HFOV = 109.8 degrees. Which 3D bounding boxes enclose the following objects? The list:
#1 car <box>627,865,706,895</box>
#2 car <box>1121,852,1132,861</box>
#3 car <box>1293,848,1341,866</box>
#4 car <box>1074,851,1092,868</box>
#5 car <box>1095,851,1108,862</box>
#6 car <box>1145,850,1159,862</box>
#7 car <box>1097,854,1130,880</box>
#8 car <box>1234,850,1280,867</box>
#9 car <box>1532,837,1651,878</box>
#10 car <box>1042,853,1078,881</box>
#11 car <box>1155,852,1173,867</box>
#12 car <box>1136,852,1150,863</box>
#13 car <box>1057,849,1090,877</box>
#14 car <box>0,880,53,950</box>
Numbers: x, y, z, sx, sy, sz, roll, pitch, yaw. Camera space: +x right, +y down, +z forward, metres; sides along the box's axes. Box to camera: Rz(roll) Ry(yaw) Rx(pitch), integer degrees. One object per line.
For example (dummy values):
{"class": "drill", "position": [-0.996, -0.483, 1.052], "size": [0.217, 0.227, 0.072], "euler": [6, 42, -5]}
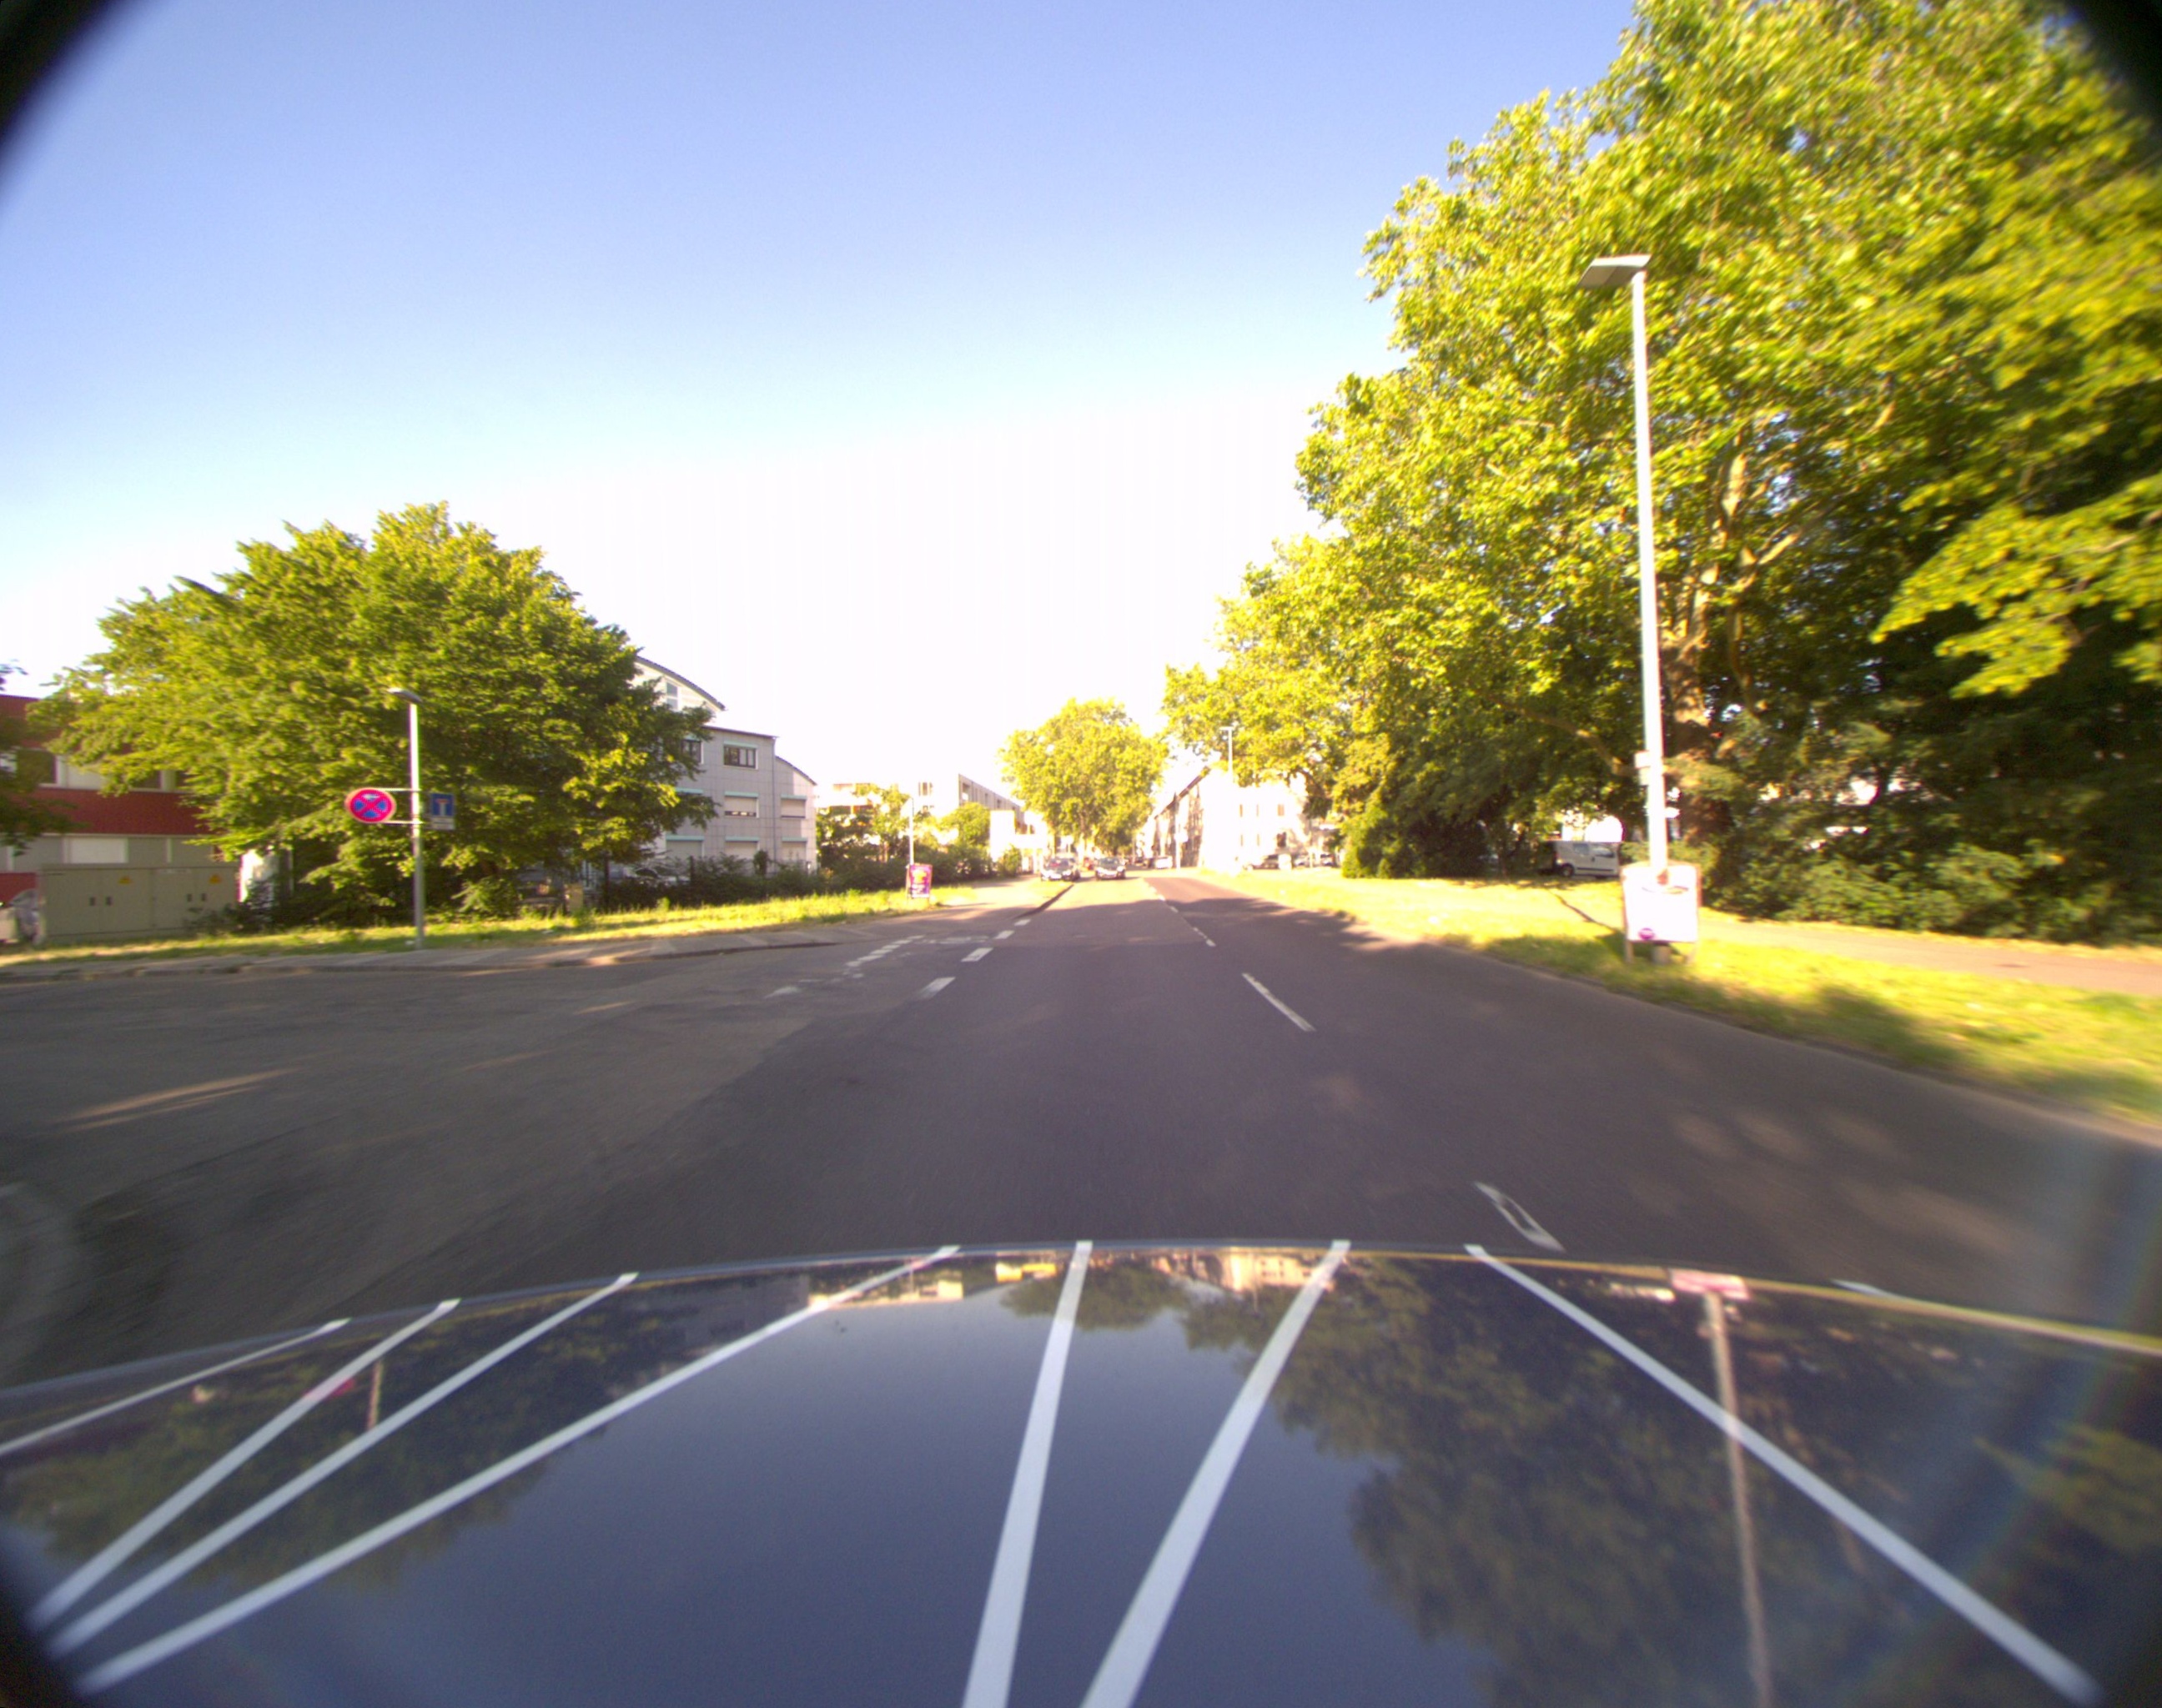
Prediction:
{"class": "car", "position": [-23.766, 1.479, 43.585], "size": [3.990, 1.565, 1.912], "euler": [0, 2, 25]}
{"class": "car", "position": [8.679, 0.503, 144.649], "size": [1.901, 1.581, 4.070], "euler": [0, 0, 2]}
{"class": "car", "position": [21.129, 0.277, 68.089], "size": [3.992, 1.552, 1.867], "euler": [-1, 0, 15]}
{"class": "car", "position": [0.220, 0.530, 79.165], "size": [1.601, 1.680, 4.337], "euler": [0, 0, 4]}
{"class": "car", "position": [3.114, 0.358, 116.835], "size": [1.869, 1.603, 4.087], "euler": [0, 0, 3]}
{"class": "car", "position": [9.711, 0.236, 104.552], "size": [1.869, 1.475, 4.088], "euler": [-2, 0, 5]}
{"class": "car", "position": [1.903, 0.771, 46.081], "size": [1.870, 1.471, 4.086], "euler": [-1, 0, 1]}
{"class": "car", "position": [16.132, 0.382, 69.482], "size": [3.992, 1.410, 1.916], "euler": [-1, 0, 15]}
{"class": "car", "position": [22.075, 0.139, 32.949], "size": [3.997, 1.674, 1.727], "euler": [-1, 1, -1]}
{"class": "car", "position": [-1.179, 0.738, 44.746], "size": [1.786, 1.506, 4.690], "euler": [0, 0, 2]}
{"class": "car", "position": [8.728, 0.573, 80.132], "size": [1.765, 1.475, 4.109], "euler": [-3, 0, 4]}
{"class": "car", "position": [9.851, 0.500, 120.983], "size": [1.870, 1.603, 4.087], "euler": [-2, 0, 1]}
{"class": "car", "position": [-0.484, 0.568, 51.777], "size": [1.998, 1.749, 4.917], "euler": [0, 0, 2]}
{"class": "car", "position": [-27.108, 1.521, 18.473], "size": [4.434, 1.584, 2.003], "euler": [-2, 1, 30]}
